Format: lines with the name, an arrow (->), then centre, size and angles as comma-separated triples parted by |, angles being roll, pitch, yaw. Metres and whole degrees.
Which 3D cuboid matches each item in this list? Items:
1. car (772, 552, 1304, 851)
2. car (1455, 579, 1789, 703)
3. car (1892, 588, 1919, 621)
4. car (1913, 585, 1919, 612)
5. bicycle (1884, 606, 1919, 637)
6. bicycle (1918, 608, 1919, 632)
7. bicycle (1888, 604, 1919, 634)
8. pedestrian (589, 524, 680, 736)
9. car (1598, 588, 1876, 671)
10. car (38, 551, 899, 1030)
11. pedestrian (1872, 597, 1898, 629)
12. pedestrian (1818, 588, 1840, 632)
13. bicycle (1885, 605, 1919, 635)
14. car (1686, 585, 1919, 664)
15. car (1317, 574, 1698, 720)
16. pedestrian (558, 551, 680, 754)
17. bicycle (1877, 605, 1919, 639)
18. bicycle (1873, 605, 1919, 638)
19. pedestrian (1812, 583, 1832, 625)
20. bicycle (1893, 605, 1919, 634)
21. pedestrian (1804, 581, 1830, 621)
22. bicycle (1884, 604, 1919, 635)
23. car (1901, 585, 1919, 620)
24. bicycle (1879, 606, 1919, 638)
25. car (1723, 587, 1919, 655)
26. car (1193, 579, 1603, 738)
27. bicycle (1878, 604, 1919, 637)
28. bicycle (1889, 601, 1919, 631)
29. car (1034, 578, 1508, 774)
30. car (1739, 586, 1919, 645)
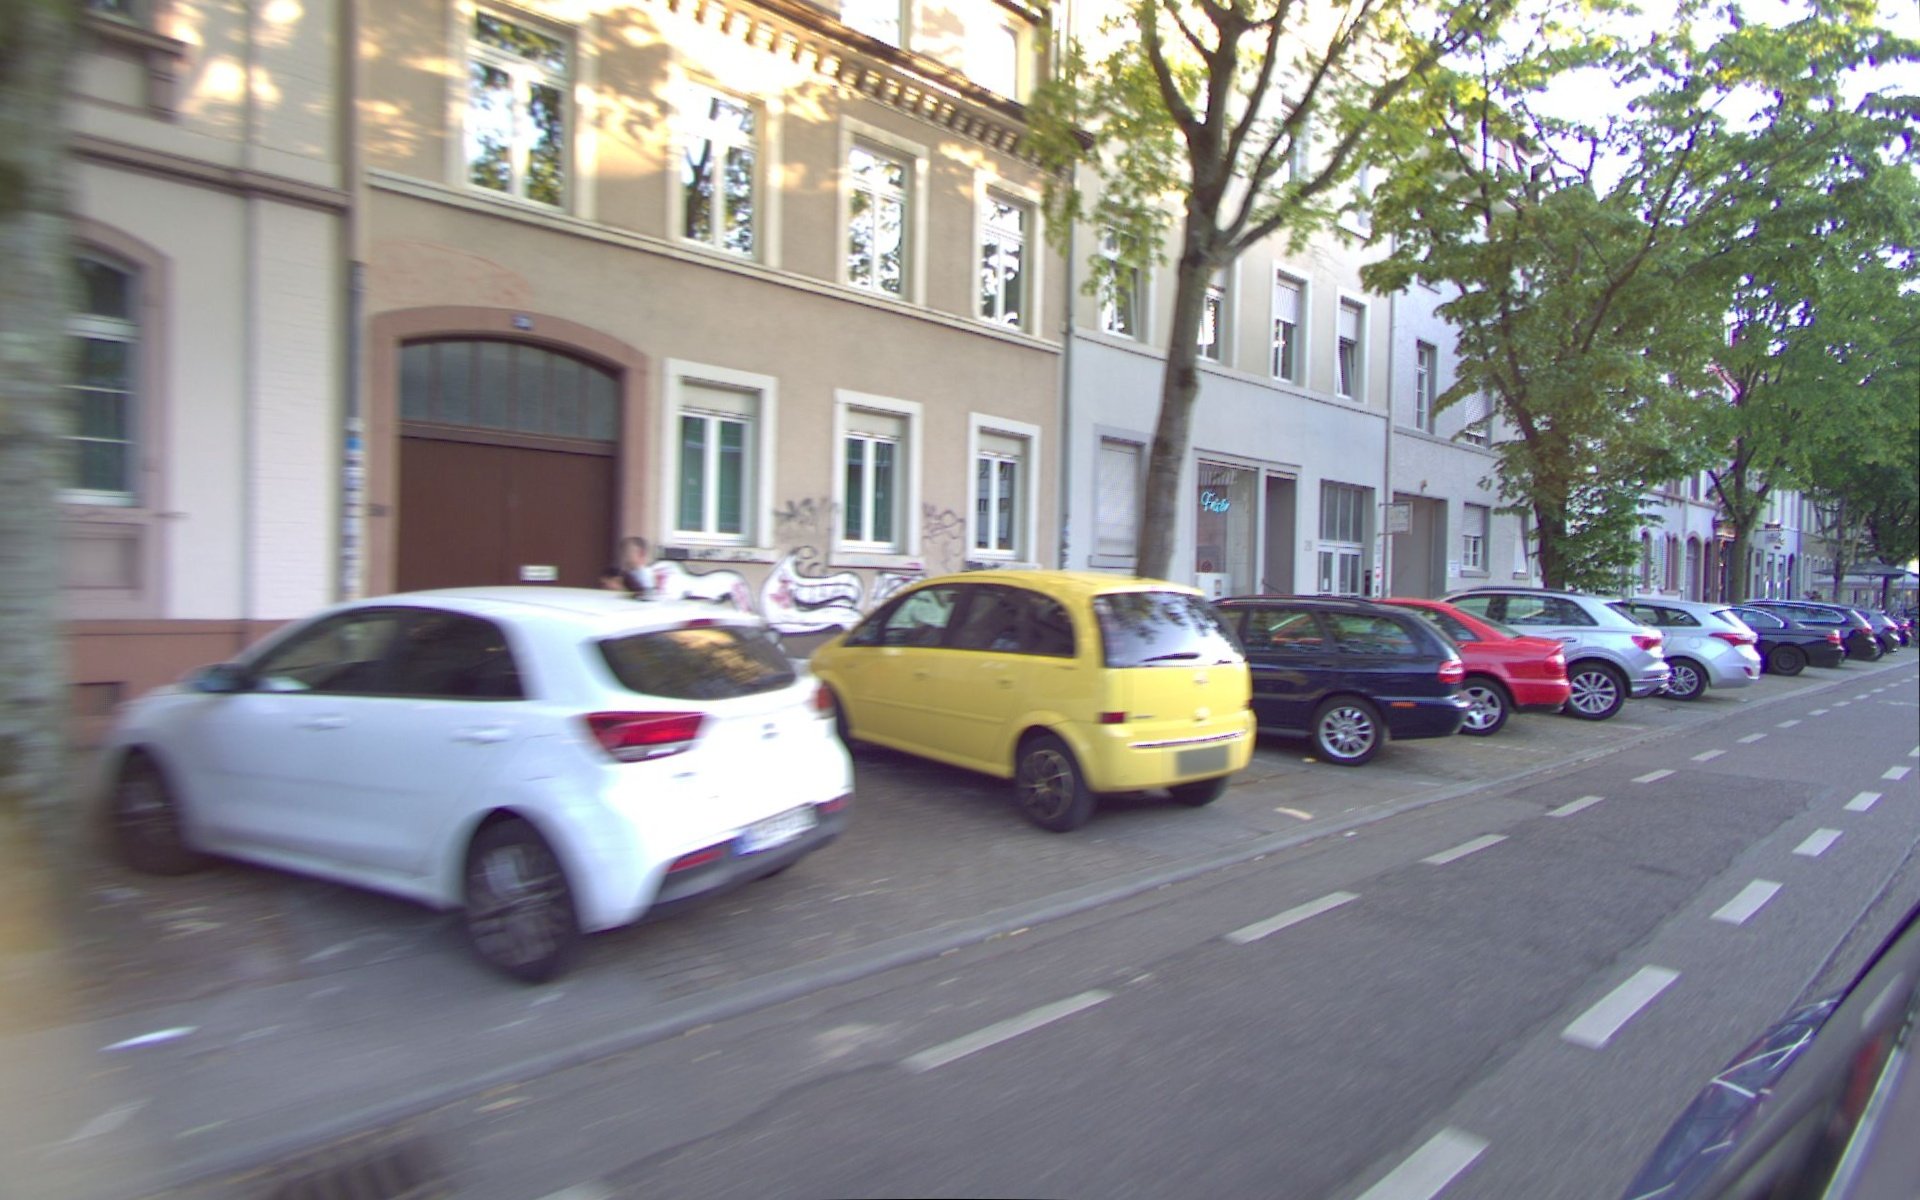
car -> 0.359, 0.500, 7.886 | 1.887, 1.639, 3.960 | 0, 3, -40
car -> 10.498, 0.532, 16.233 | 4.245, 1.568, 1.991 | 4, 3, 39
car -> 48.019, 0.291, 48.909 | 3.933, 1.572, 1.692 | 3, 2, 25
car -> 68.537, 0.046, 68.818 | 4.943, 1.849, 2.183 | 4, 2, 32
bicycle -> 34.578, 0.798, 36.407 | 0.598, 1.044, 1.890 | 1, 4, -42
bicycle -> 38.624, 0.797, 39.516 | 0.547, 1.044, 1.682 | 1, 4, -42
bicycle -> 36.099, 0.767, 37.880 | 0.598, 1.044, 1.890 | 1, 4, -42
pedestrian -> -2.948, 0.250, 9.165 | 0.596, 1.837, 0.567 | 0, 1, -41
car -> 16.197, 0.549, 21.415 | 4.218, 1.409, 2.000 | 3, 2, 24
car -> -2.483, 0.565, 5.093 | 3.924, 1.504, 1.904 | 3, 3, 26
pedestrian -> 39.794, 0.550, 43.549 | 0.546, 1.322, 0.710 | 2, 2, 22
pedestrian -> 35.499, 0.397, 41.321 | 0.878, 1.785, 0.551 | 1, 0, -41
bicycle -> 35.512, 0.772, 37.368 | 0.598, 1.044, 1.890 | 1, 4, -42
car -> 20.104, 0.522, 24.148 | 4.088, 1.488, 1.998 | 5, 3, 26
car -> 7.231, 0.509, 13.796 | 4.224, 1.579, 1.880 | 3, 3, 27
pedestrian -> -2.816, 0.403, 8.355 | 0.799, 1.588, 0.539 | 0, 1, -39
bicycle -> 33.550, 0.790, 35.532 | 0.663, 1.080, 1.890 | 1, 4, -42
bicycle -> 32.634, 0.761, 34.668 | 0.524, 1.044, 1.907 | 1, 4, -42
pedestrian -> 37.621, 0.174, 44.182 | 0.548, 1.785, 0.843 | 1, 0, 32
bicycle -> 37.123, 0.782, 38.836 | 0.598, 1.044, 1.819 | 1, 4, -42
pedestrian -> 38.631, 0.031, 45.633 | 0.696, 1.785, 0.710 | 1, 0, 22
bicycle -> 35.022, 0.745, 36.891 | 0.598, 1.044, 1.890 | 1, 4, -42
car -> 53.708, 0.232, 54.330 | 4.112, 1.828, 1.994 | 3, 2, 22
bicycle -> 34.060, 0.825, 36.021 | 0.598, 1.044, 1.890 | 1, 4, -42
car -> 23.548, 0.524, 27.655 | 4.103, 1.488, 1.801 | 5, 3, 34
car -> 5.016, 0.565, 12.002 | 4.091, 1.442, 1.882 | 3, 3, 25
bicycle -> 33.097, 0.743, 35.040 | 0.581, 1.044, 1.866 | 1, 4, -42
bicycle -> 36.575, 0.648, 38.363 | 0.598, 1.044, 1.890 | 1, 4, -42
car -> 2.989, 0.589, 10.035 | 4.091, 1.442, 1.905 | 3, 3, 25
car -> 26.724, 0.431, 31.161 | 4.149, 1.444, 1.801 | 5, 3, 34
